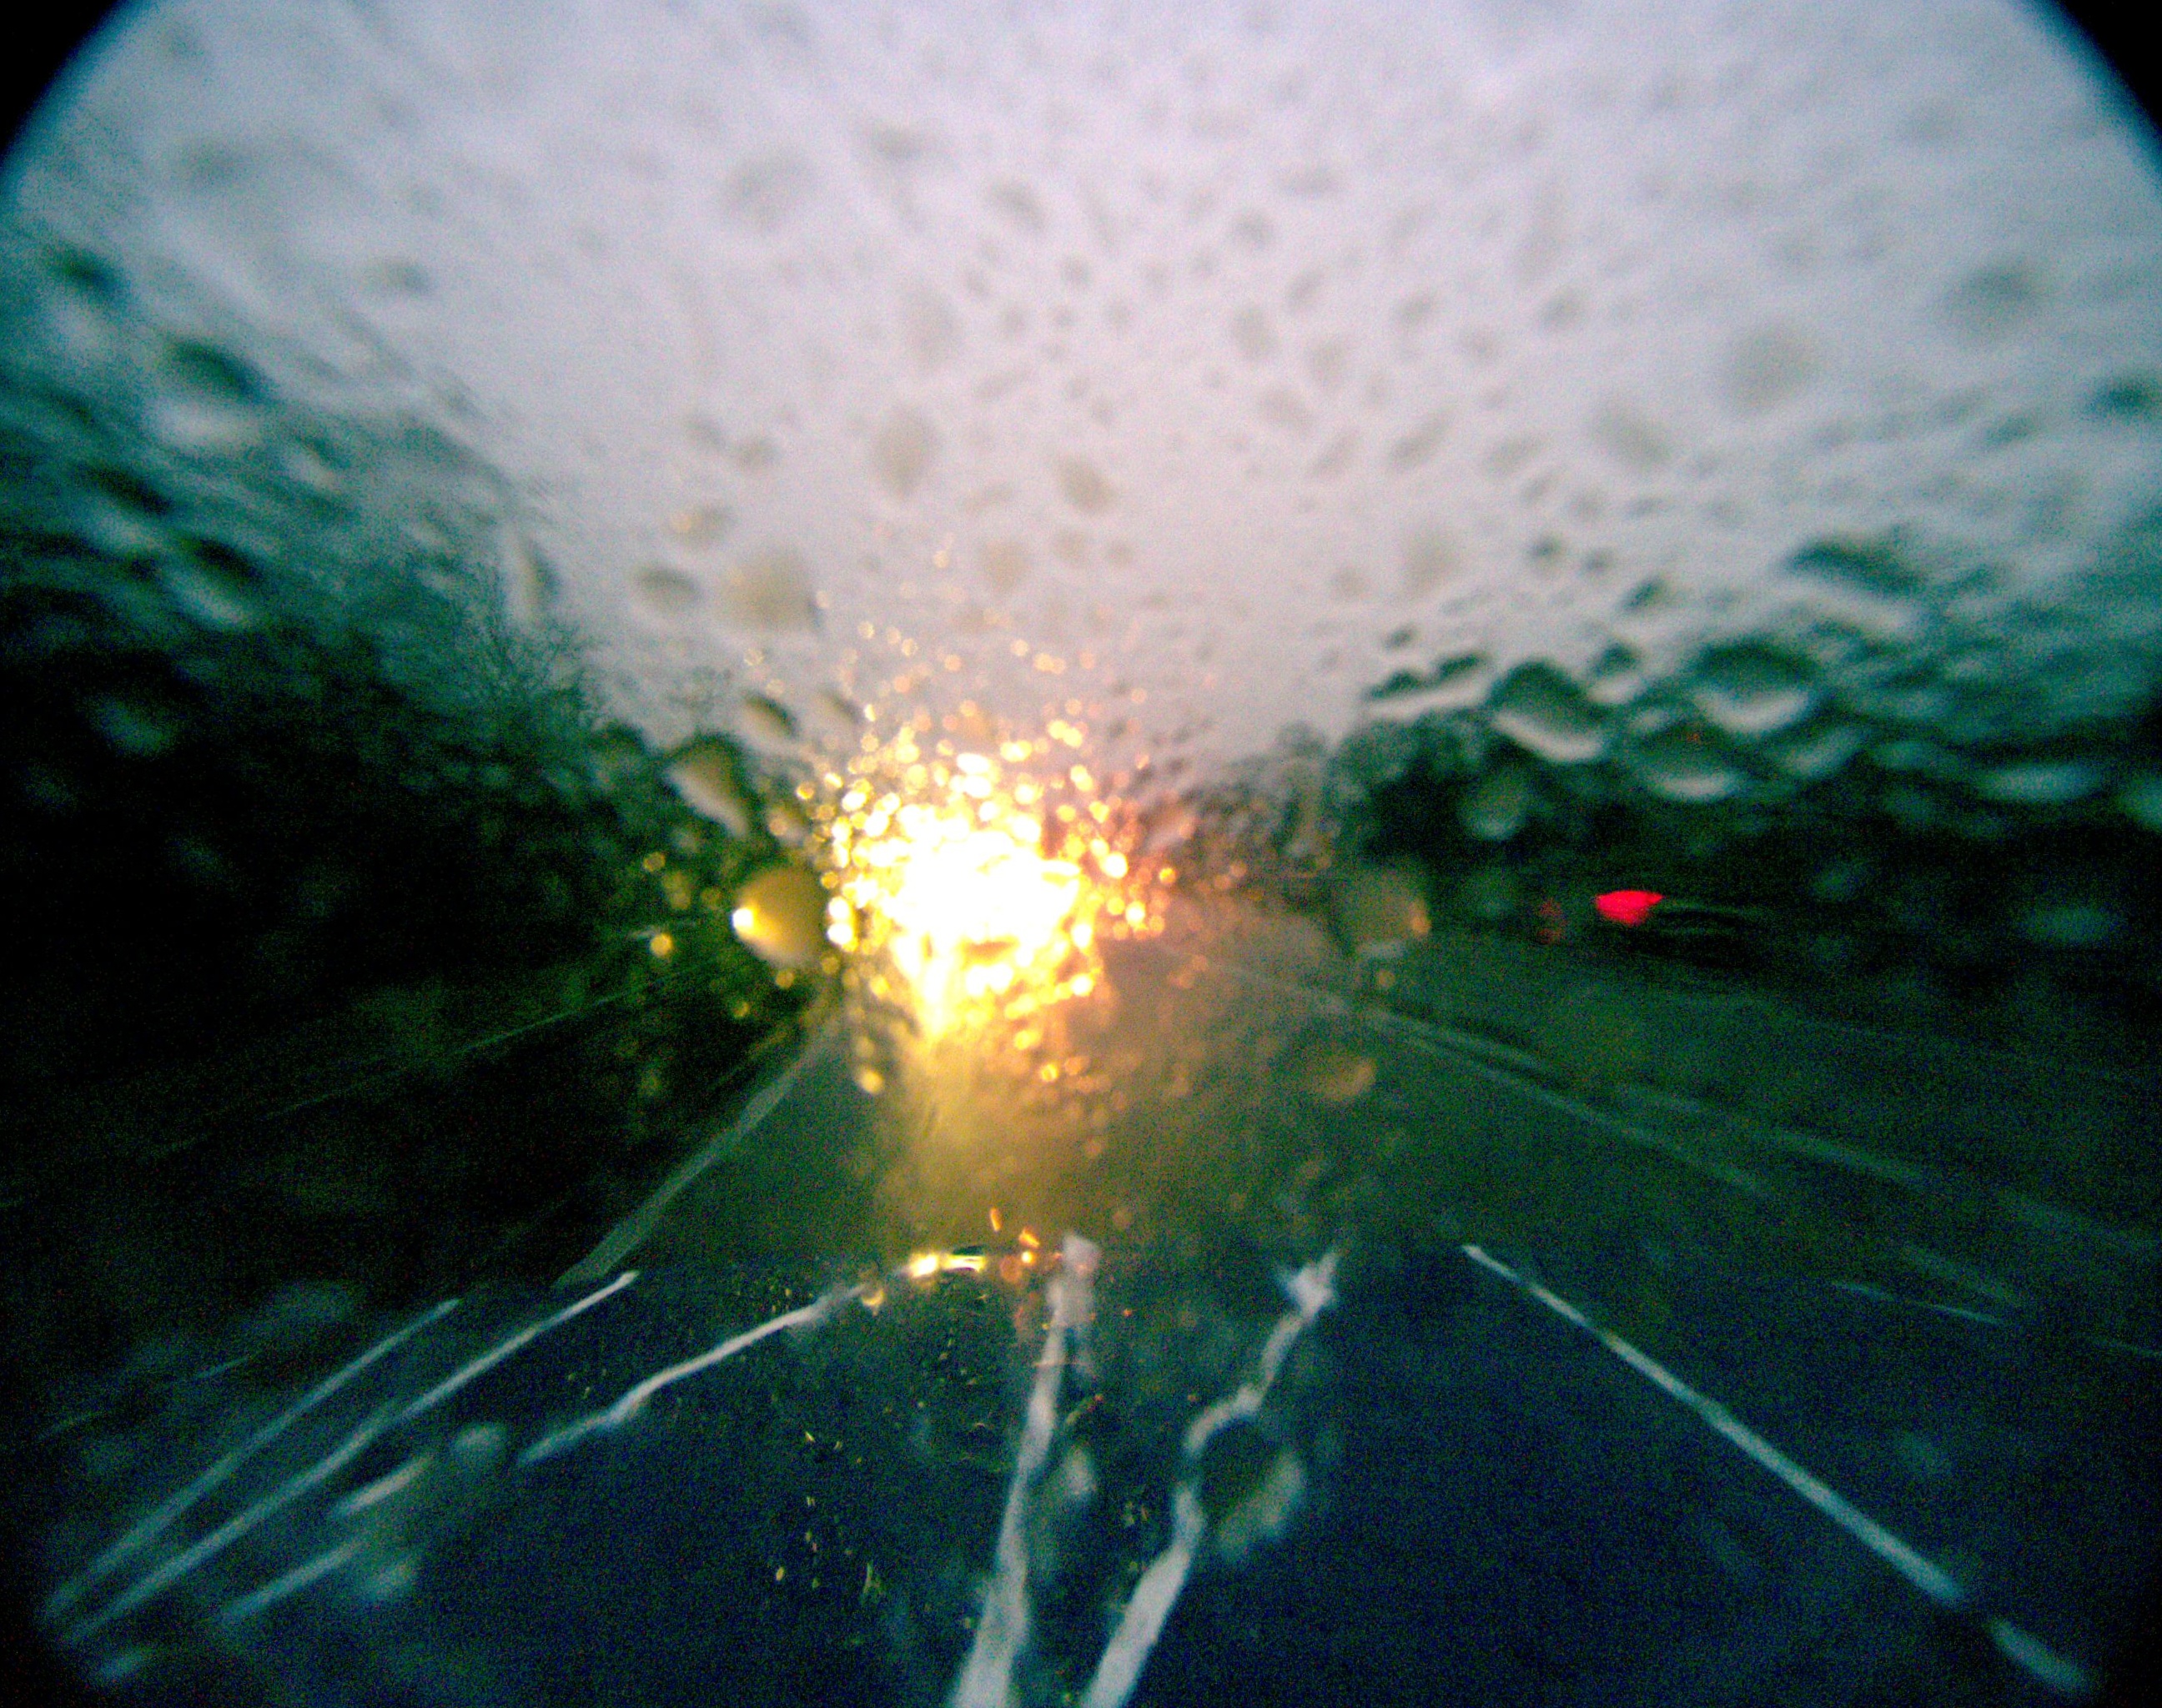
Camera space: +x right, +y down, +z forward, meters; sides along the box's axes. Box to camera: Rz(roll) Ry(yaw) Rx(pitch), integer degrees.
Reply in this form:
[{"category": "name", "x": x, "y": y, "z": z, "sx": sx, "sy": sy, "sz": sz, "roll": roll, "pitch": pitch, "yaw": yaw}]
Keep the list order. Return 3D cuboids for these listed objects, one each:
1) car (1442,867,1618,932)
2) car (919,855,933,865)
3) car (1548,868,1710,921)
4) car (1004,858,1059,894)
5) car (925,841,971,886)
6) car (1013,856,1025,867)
[{"category": "car", "x": 12.879, "y": 1.227, "z": 22.194, "sx": 1.760, "sy": 1.560, "sz": 4.672, "roll": 0, "pitch": 0, "yaw": -11}, {"category": "car", "x": -18.494, "y": 0.727, "z": 90.591, "sx": 1.484, "sy": 1.198, "sz": 3.344, "roll": 0, "pitch": 0, "yaw": -15}, {"category": "car", "x": 18.472, "y": 1.291, "z": 25.912, "sx": 1.761, "sy": 1.560, "sz": 4.393, "roll": -1, "pitch": 0, "yaw": -14}, {"category": "car", "x": -2.274, "y": 0.949, "z": 33.971, "sx": 1.657, "sy": 1.502, "sz": 3.869, "roll": 0, "pitch": 0, "yaw": -16}, {"category": "car", "x": -6.422, "y": 0.440, "z": 36.772, "sx": 2.000, "sy": 2.001, "sz": 3.960, "roll": 3, "pitch": -1, "yaw": -10}, {"category": "car", "x": -12.493, "y": 1.482, "z": 153.070, "sx": 2.001, "sy": 2.002, "sz": 3.994, "roll": 1, "pitch": 2, "yaw": -11}]
